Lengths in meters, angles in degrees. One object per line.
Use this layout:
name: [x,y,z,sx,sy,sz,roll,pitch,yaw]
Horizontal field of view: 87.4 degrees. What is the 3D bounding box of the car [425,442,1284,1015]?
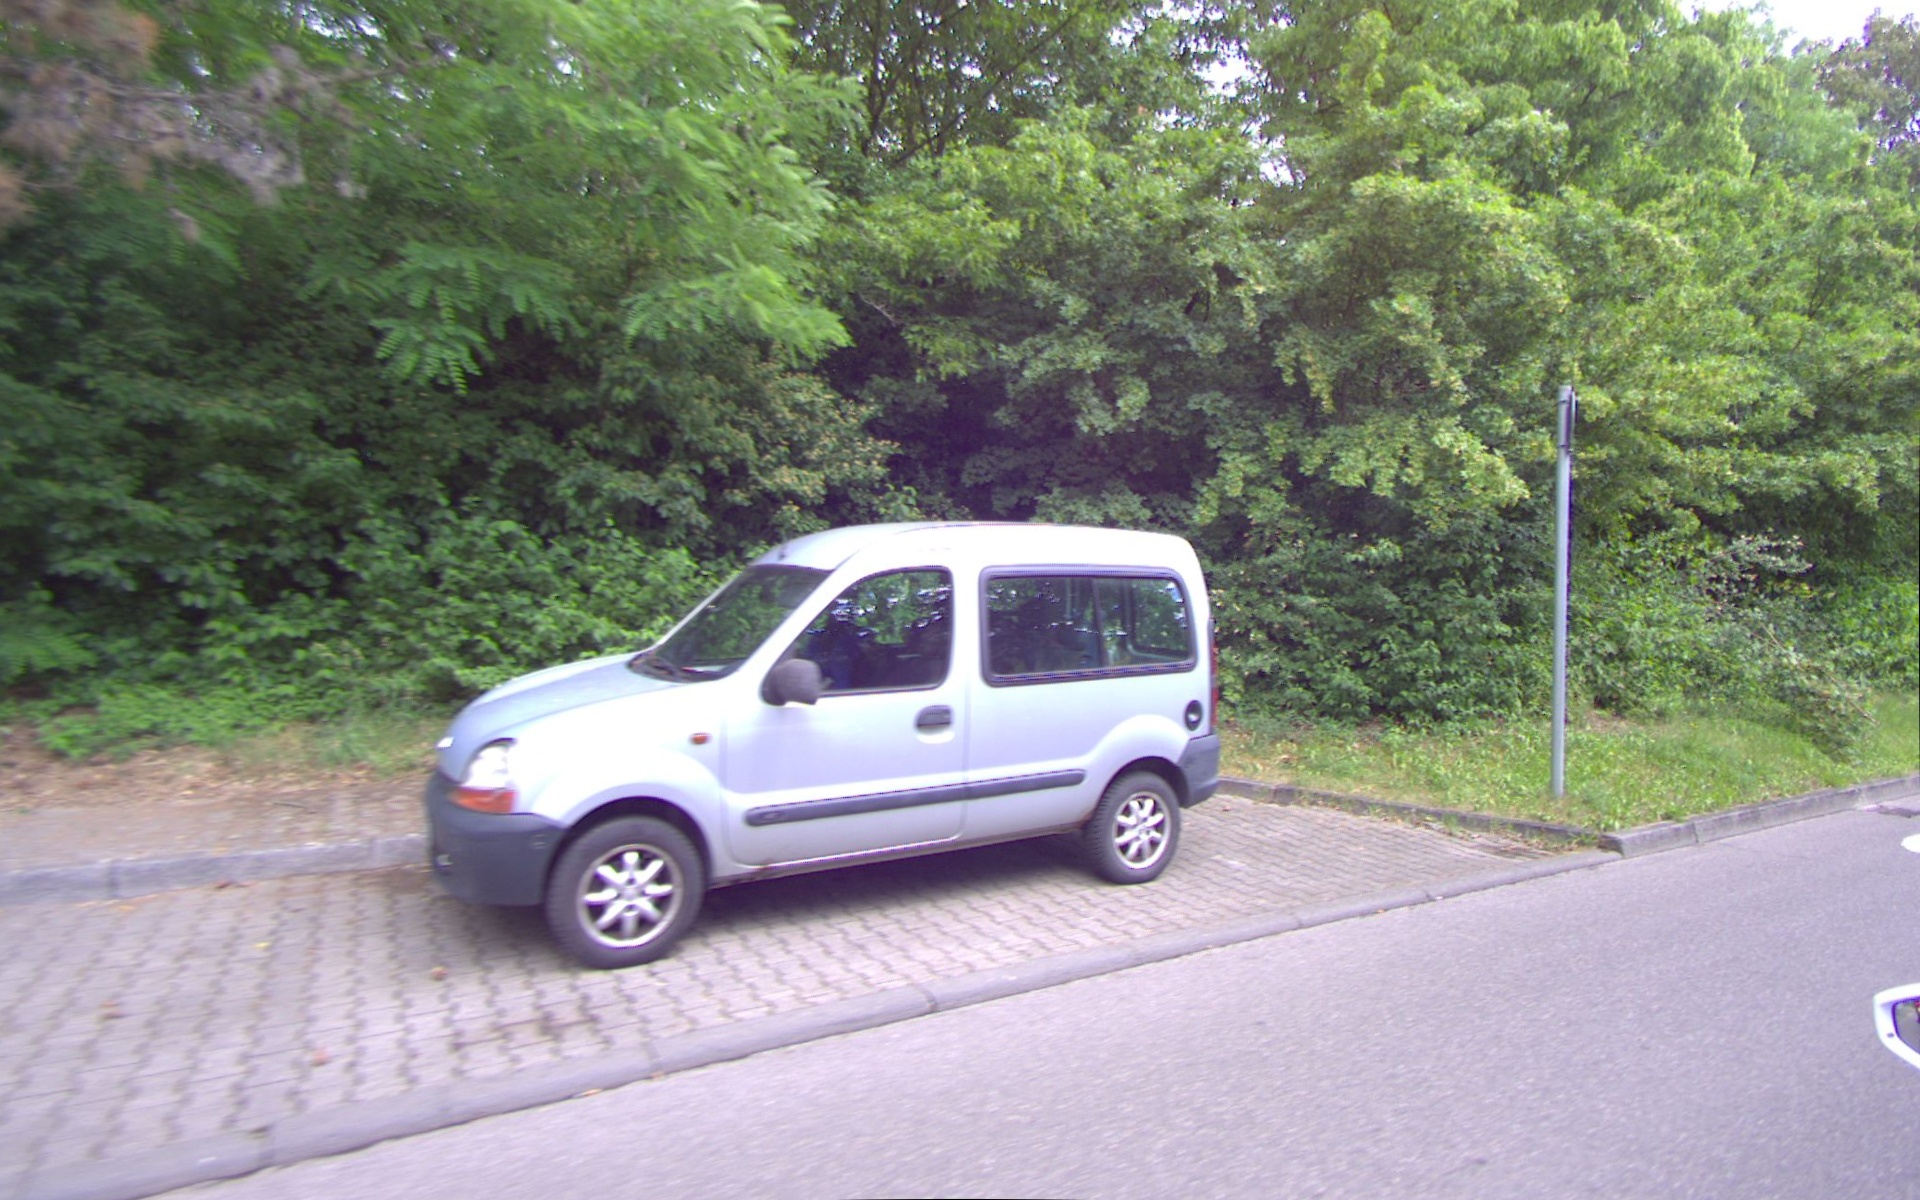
car: [-0.426,0.412,5.181,4.057,1.947,1.712,0,3,-31]
